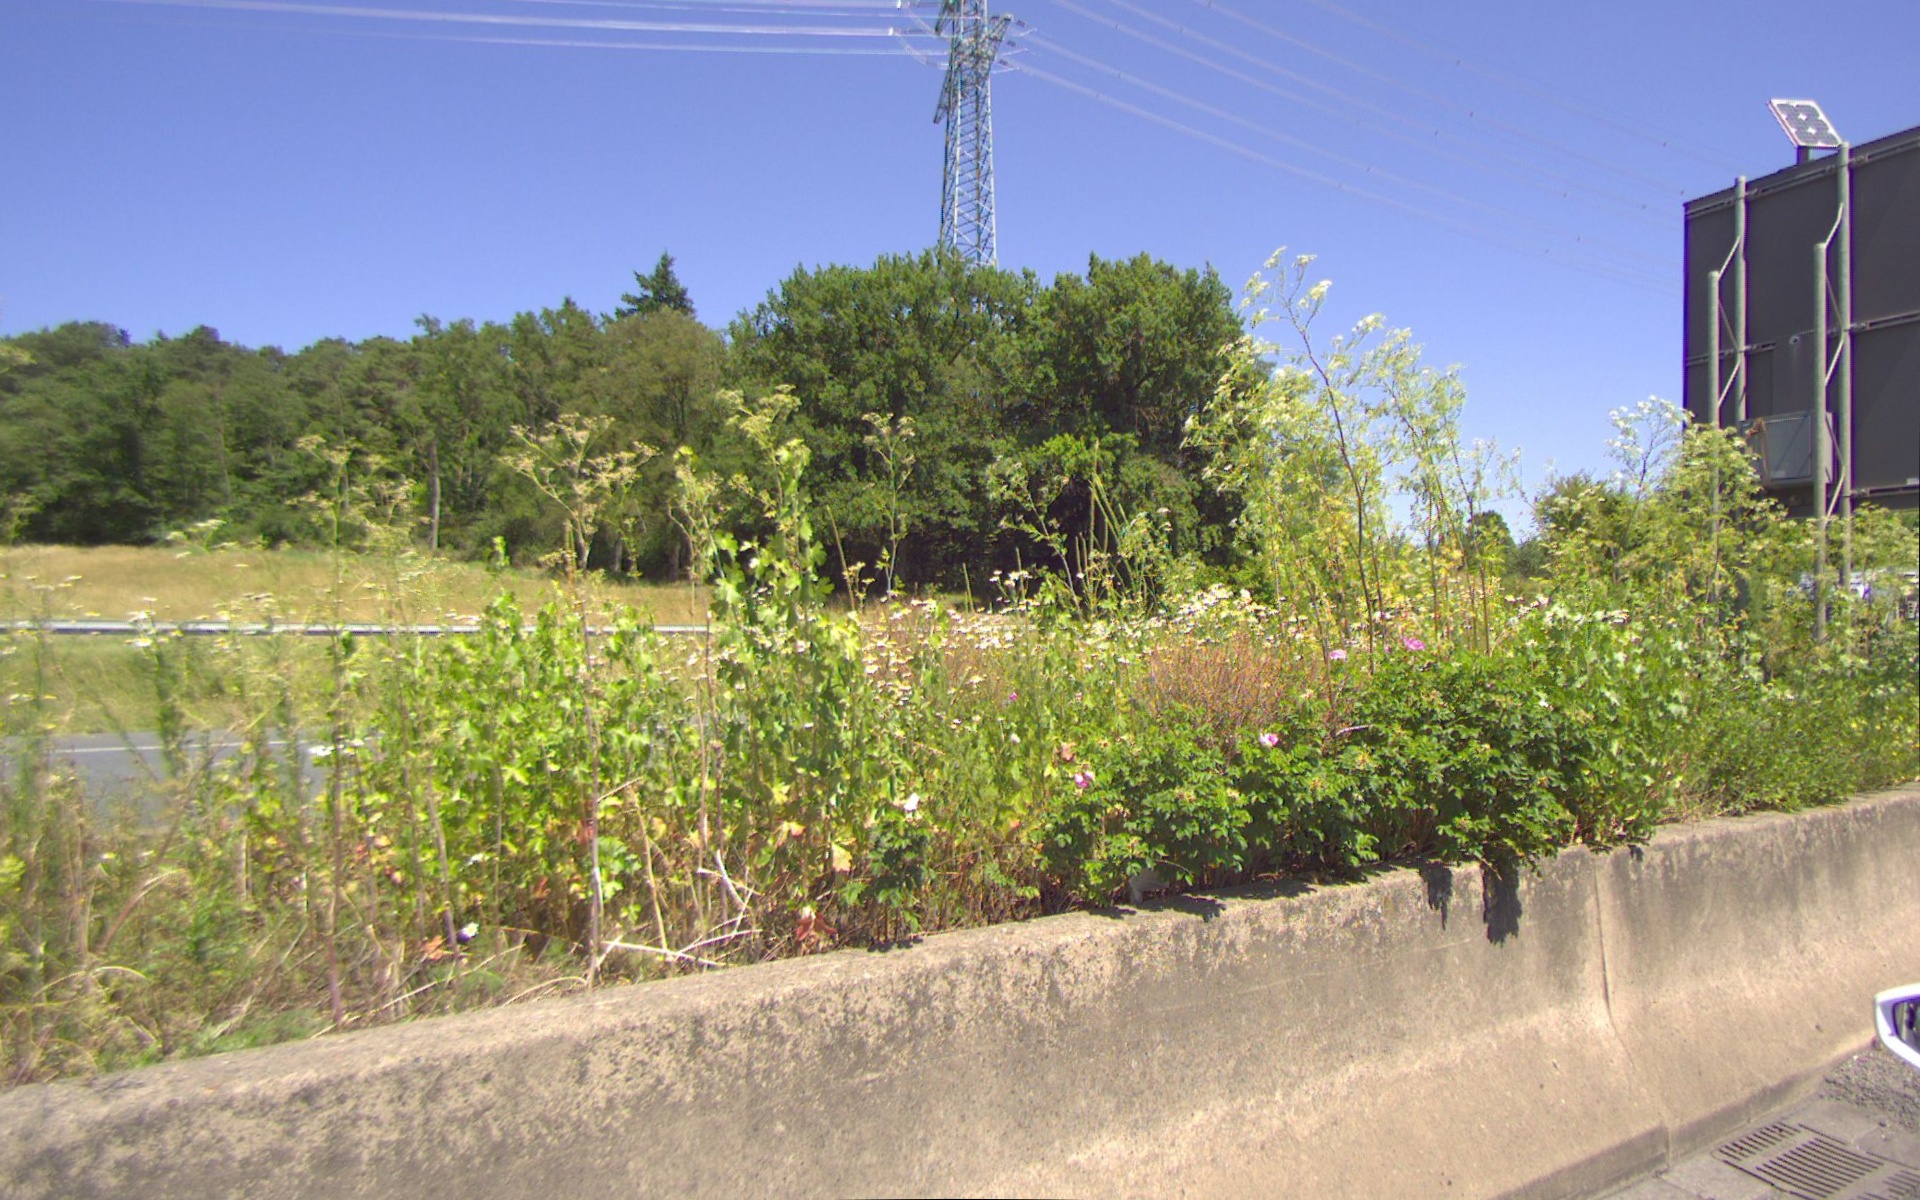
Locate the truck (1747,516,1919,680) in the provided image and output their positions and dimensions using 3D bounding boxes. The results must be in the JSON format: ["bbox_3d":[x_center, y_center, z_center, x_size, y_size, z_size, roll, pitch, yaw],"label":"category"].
[{"bbox_3d":[29.386,-0.015,33.794,3.984,5.117,3.288,1,-1,-29],"label":"truck"}]

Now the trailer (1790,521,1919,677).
[{"bbox_3d":[33.292,0.094,35.974,6.623,5.114,3.308,2,-1,-29],"label":"trailer"}]

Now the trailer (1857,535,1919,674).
[{"bbox_3d":[39.358,0.323,39.383,9.474,5.114,3.308,2,-1,-29],"label":"trailer"}]
